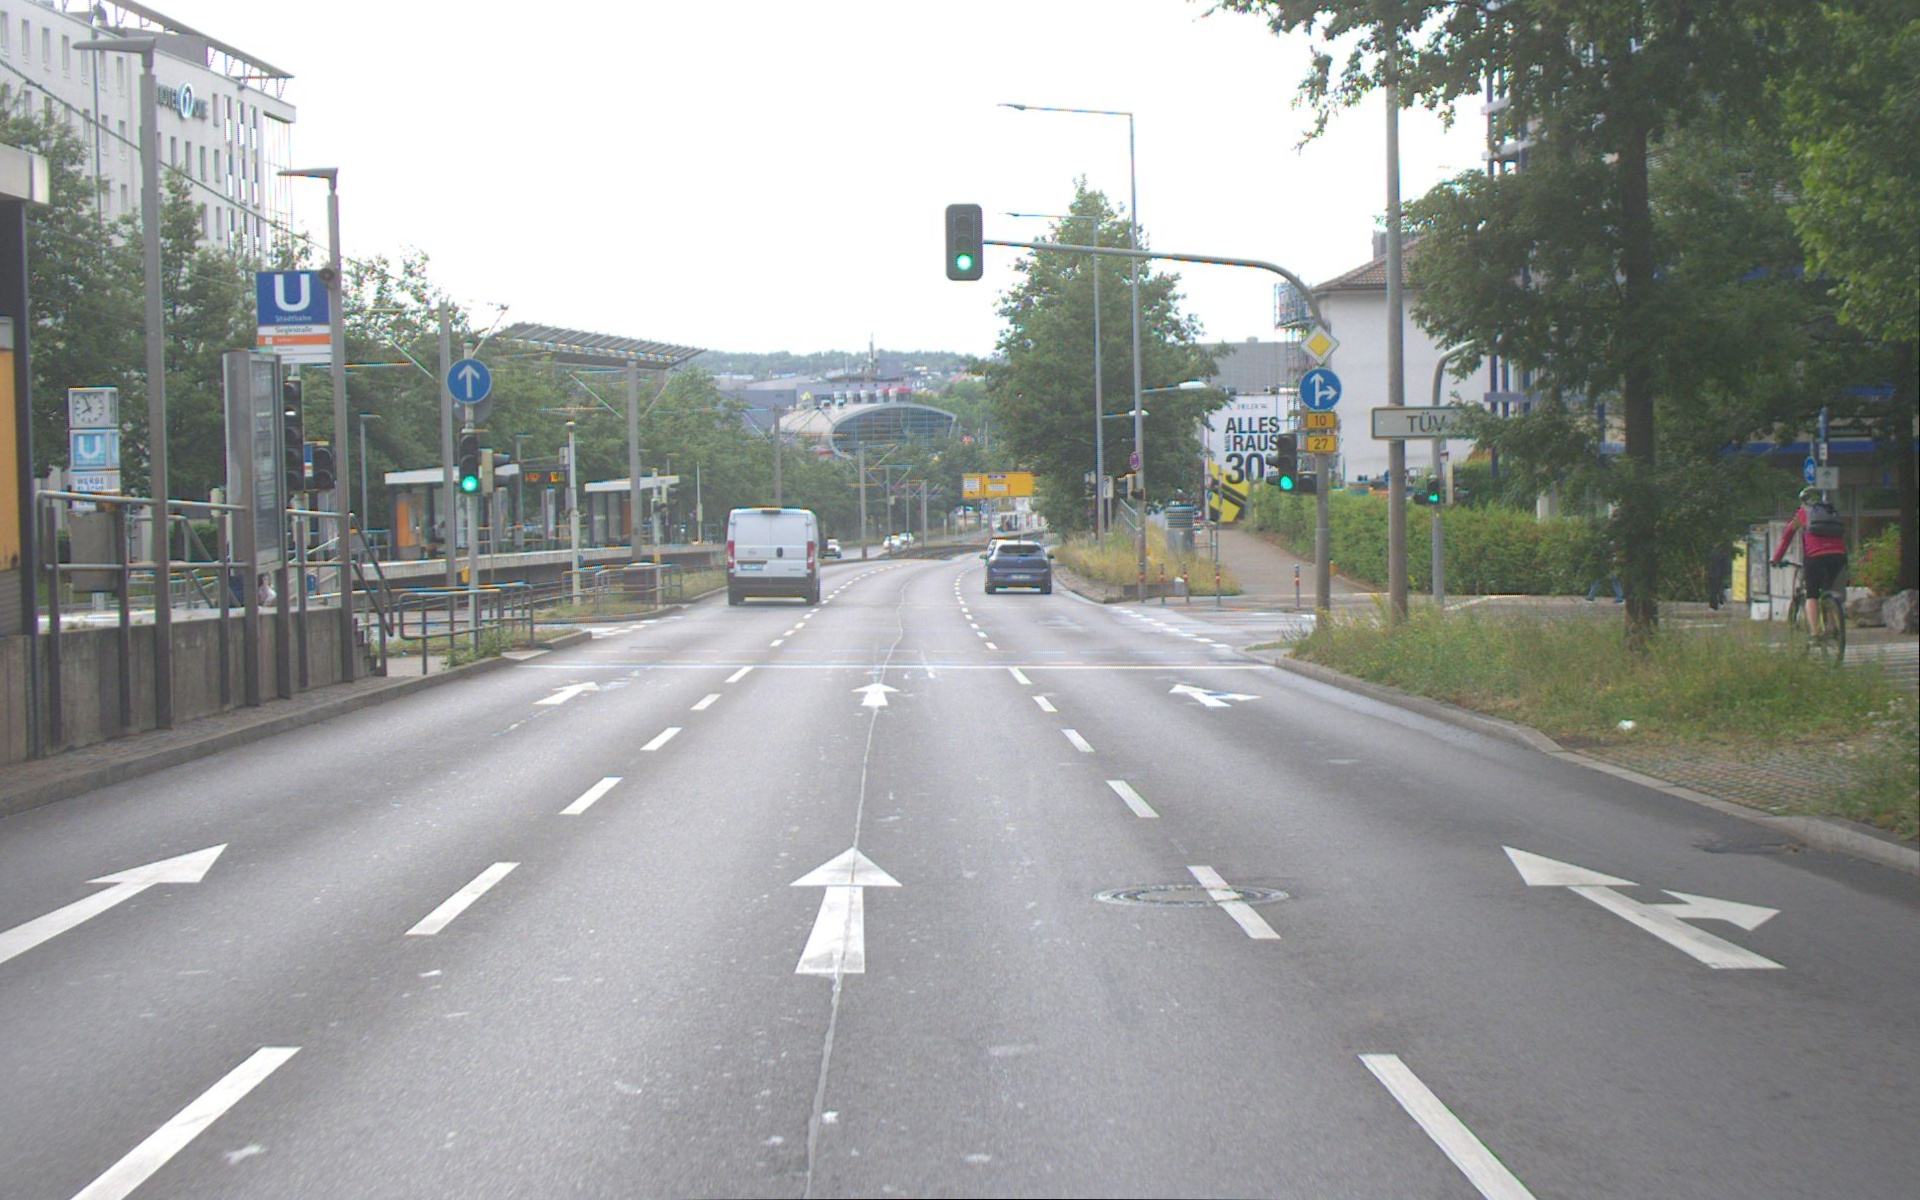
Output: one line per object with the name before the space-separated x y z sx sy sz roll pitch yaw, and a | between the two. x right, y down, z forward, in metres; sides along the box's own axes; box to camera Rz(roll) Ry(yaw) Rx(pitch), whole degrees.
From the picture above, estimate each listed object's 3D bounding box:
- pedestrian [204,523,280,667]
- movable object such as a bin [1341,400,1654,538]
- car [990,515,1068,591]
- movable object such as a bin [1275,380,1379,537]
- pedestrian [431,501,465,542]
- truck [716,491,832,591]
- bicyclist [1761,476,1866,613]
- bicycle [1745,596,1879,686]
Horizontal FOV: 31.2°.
pedestrian | -8.311 -0.069 39.810 0.700 1.645 0.649 -1 2 -29
movable object such as a bin | 21.942 -5.339 140.972 12.140 5.243 3.790 -1 1 0
car | 1.899 -1.286 93.557 1.994 2.007 3.934 1 1 3
movable object such as a bin | 13.831 -5.245 130.149 3.290 5.665 8.763 1 1 2
pedestrian | -16.362 -2.509 109.849 0.961 1.295 0.684 -1 1 1
truck | -4.335 -1.375 80.941 2.360 2.254 5.306 1 1 1
bicyclist | 8.241 -0.535 33.236 0.655 1.284 1.219 1 1 -1
bicycle | 8.235 0.384 33.316 0.667 0.806 2.319 1 1 -1
